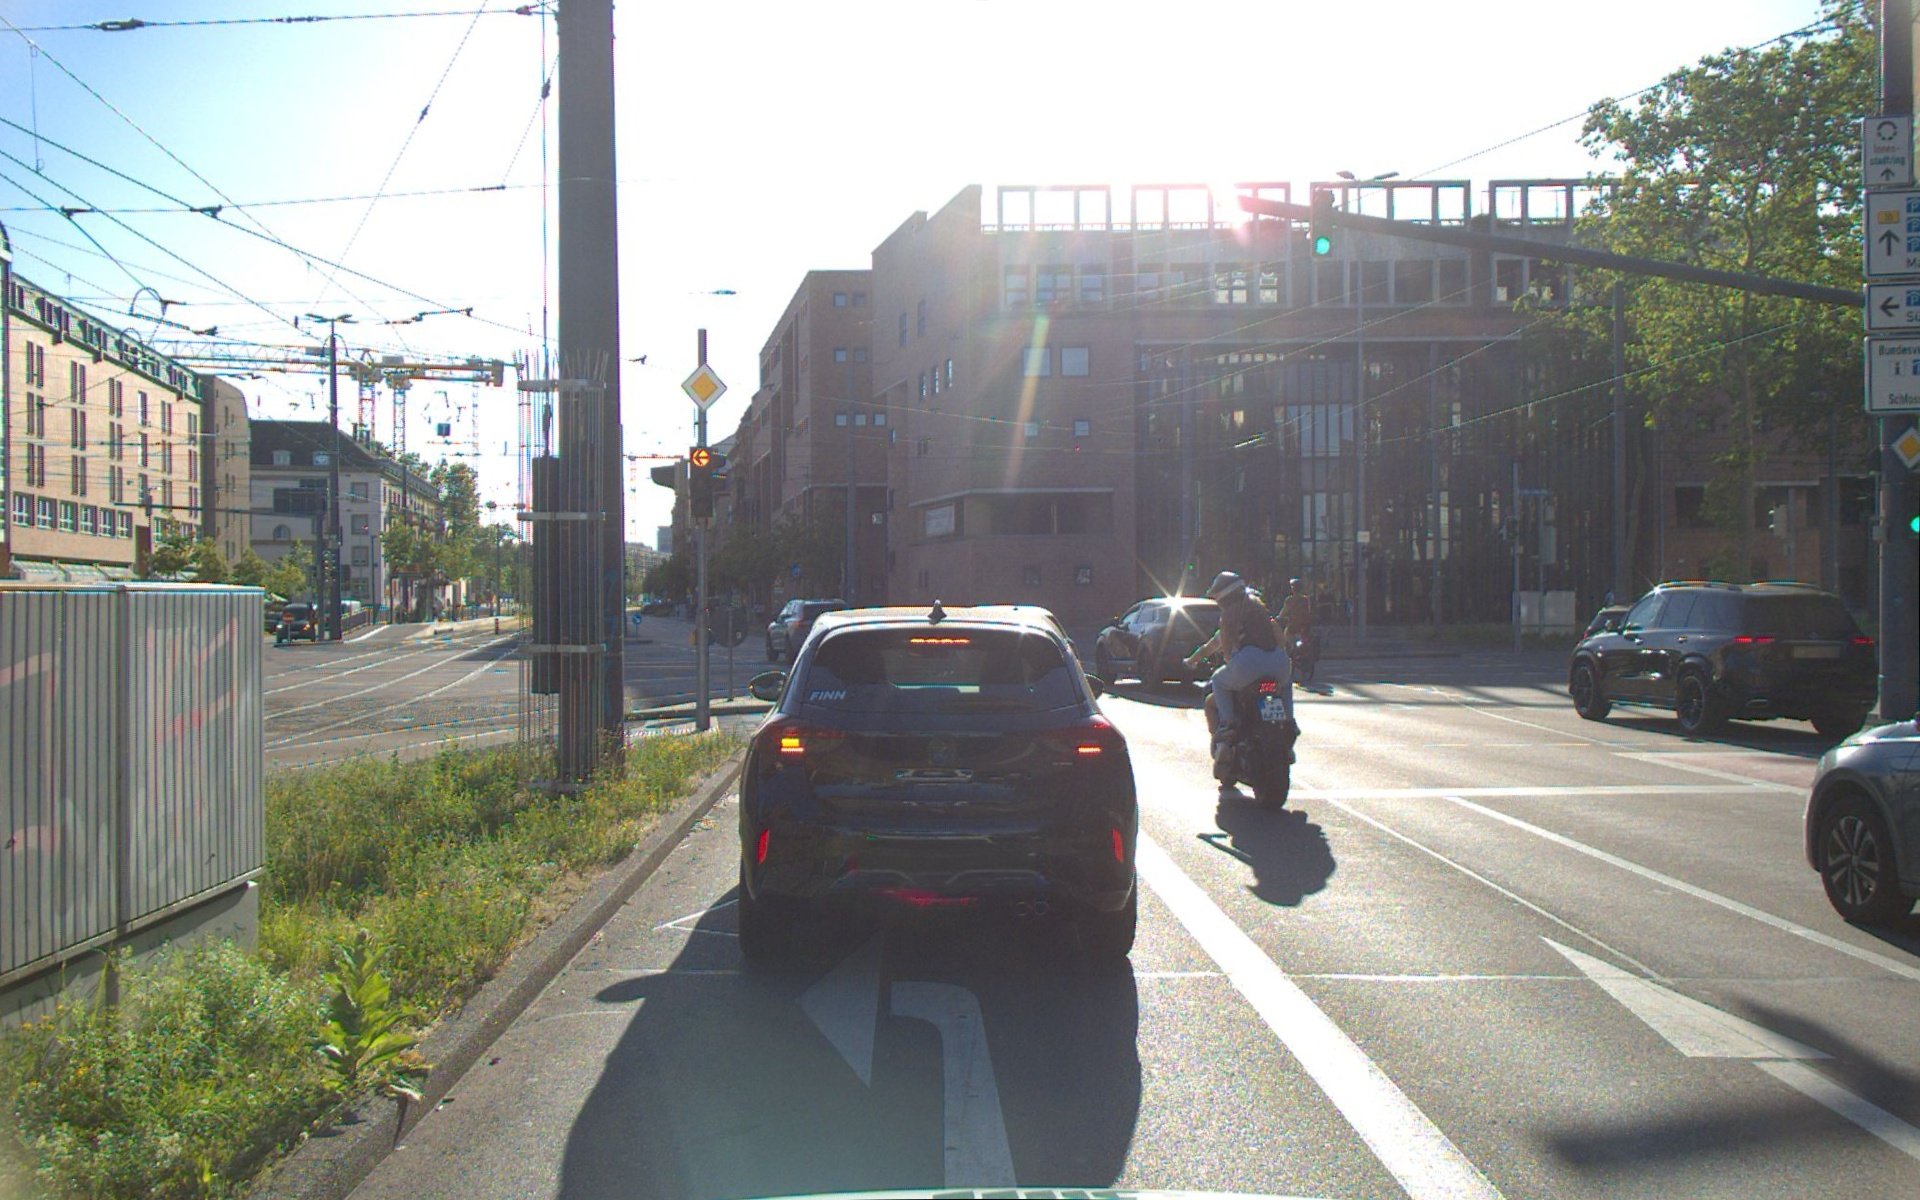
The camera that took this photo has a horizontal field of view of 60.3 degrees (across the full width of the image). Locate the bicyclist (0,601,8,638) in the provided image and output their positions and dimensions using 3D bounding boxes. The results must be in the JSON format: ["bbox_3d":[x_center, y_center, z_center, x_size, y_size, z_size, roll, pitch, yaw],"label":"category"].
[{"bbox_3d":[-36.130,0.731,61.710,0.743,1.399,0.949,-1,0,-9],"label":"bicyclist"}]

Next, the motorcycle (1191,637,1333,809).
[{"bbox_3d":[2.223,0.873,12.421,0.759,1.135,1.969,-1,0,2],"label":"motorcycle"}]

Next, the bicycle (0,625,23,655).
[{"bbox_3d":[-36.207,1.514,62.245,0.638,1.104,2.921,-1,0,-9],"label":"bicycle"}]

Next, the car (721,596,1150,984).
[{"bbox_3d":[-0.088,0.716,8.263,1.615,1.458,4.000,0,0,0],"label":"car"}]

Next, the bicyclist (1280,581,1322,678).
[{"bbox_3d":[6.540,0.557,31.752,0.566,1.822,0.863,-1,0,-5],"label":"bicyclist"}]

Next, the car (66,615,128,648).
[{"bbox_3d":[-43.029,1.568,82.526,1.853,1.536,3.985,-1,0,-14],"label":"car"}]

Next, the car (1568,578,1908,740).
[{"bbox_3d":[9.505,0.648,20.654,1.954,1.780,4.325,-1,0,-5],"label":"car"}]

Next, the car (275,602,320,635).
[{"bbox_3d":[-31.633,0.873,79.050,1.718,1.531,3.861,-1,0,-18],"label":"car"}]

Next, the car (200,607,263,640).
[{"bbox_3d":[-34.269,1.085,77.898,1.542,1.474,3.995,-1,0,-5],"label":"car"}]

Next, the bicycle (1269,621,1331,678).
[{"bbox_3d":[6.535,0.932,31.889,0.482,1.015,2.325,-1,0,-6],"label":"bicycle"}]

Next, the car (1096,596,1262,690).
[{"bbox_3d":[3.676,0.691,28.478,1.774,1.483,3.992,1,0,-9],"label":"car"}]

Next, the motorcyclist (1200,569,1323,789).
[{"bbox_3d":[2.217,0.558,12.275,0.729,1.557,1.021,-1,0,1],"label":"motorcyclist"}]

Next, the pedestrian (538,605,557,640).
[{"bbox_3d":[-19.530,1.066,78.305,0.755,1.669,0.739,-1,0,-22],"label":"pedestrian"}]

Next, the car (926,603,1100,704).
[{"bbox_3d":[0.709,0.736,24.966,1.707,1.373,3.987,0,0,-12],"label":"car"}]

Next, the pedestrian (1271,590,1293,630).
[{"bbox_3d":[13.422,0.427,68.944,0.881,1.645,0.561,-1,0,7],"label":"pedestrian"}]

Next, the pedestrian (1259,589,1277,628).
[{"bbox_3d":[13.197,0.347,70.890,0.722,1.645,0.561,-1,0,7],"label":"pedestrian"}]

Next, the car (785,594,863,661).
[{"bbox_3d":[-3.644,0.698,43.859,1.706,1.680,3.990,0,0,-10],"label":"car"}]

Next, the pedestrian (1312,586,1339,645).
[{"bbox_3d":[11.049,0.468,49.958,0.692,1.789,0.560,-1,0,24],"label":"pedestrian"}]

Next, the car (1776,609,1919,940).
[{"bbox_3d":[5.249,0.804,6.702,1.771,1.483,3.998,1,0,-3],"label":"car"}]

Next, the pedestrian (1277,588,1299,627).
[{"bbox_3d":[13.834,0.317,69.766,0.881,1.645,0.561,-1,0,7],"label":"pedestrian"}]

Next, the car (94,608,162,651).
[{"bbox_3d":[-31.487,1.102,62.683,1.718,1.531,3.861,-1,0,-18],"label":"car"}]

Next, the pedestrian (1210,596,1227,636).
[{"bbox_3d":[9.697,0.595,62.044,0.519,1.455,0.598,-1,0,-1],"label":"pedestrian"}]
